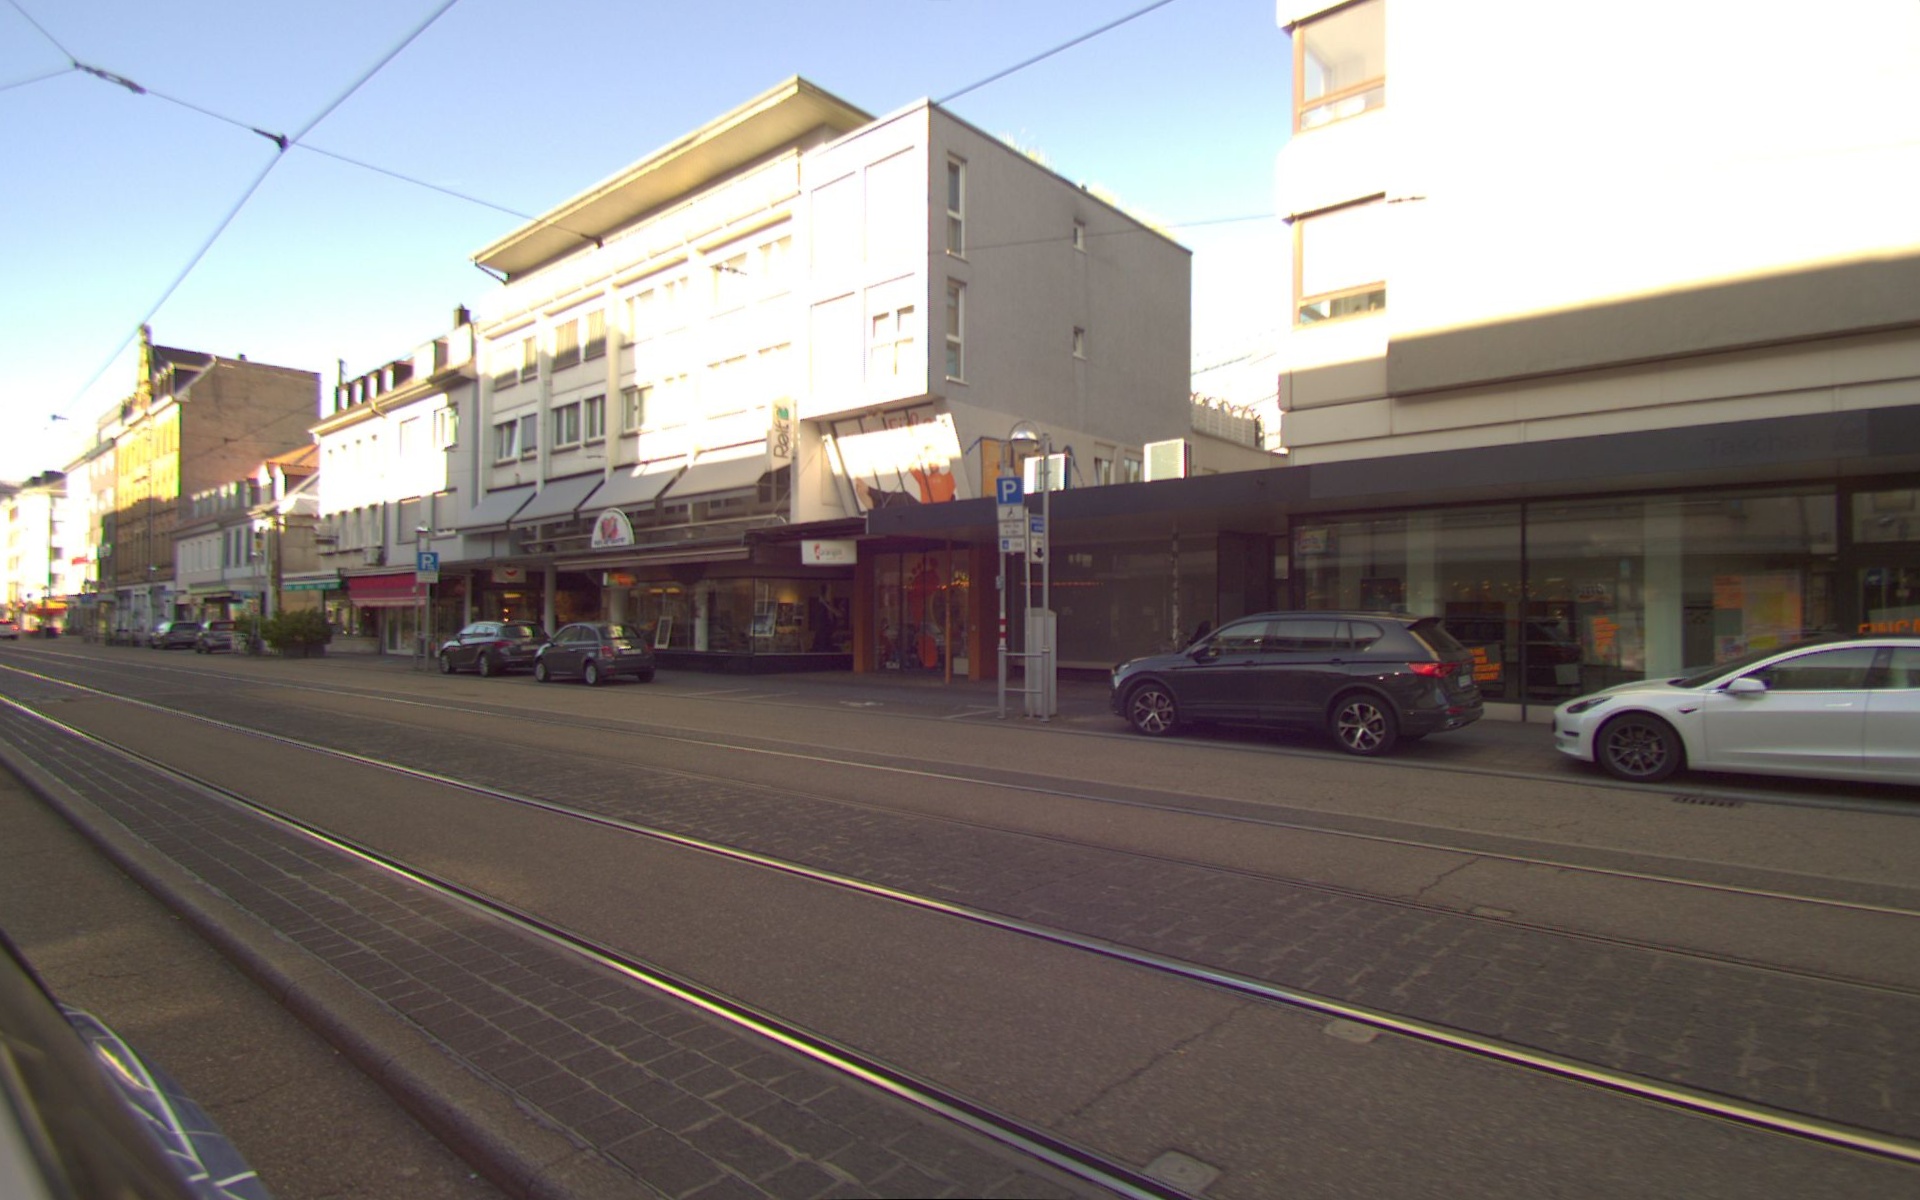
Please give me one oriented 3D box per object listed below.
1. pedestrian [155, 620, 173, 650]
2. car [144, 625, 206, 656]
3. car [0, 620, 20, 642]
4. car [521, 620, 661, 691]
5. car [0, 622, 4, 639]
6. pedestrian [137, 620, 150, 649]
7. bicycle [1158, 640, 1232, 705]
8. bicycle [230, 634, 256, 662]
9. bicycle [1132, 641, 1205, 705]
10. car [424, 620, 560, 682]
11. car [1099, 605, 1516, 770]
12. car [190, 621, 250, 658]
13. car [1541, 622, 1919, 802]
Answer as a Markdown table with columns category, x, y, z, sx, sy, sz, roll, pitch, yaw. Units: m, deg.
| category | x | y | z | sx | sy | sz | roll | pitch | yaw |
| --- | --- | --- | --- | --- | --- | --- | --- | --- | --- |
| pedestrian | -48.163 | 2.091 | 61.236 | 0.580 | 1.775 | 0.651 | -1 | 0 | 33 |
| car | -42.031 | 2.117 | 54.157 | 4.761 | 1.525 | 1.798 | -1 | -1 | 41 |
| car | -74.688 | 2.425 | 78.830 | 3.675 | 1.647 | 1.779 | -1 | -2 | 41 |
| car | -9.039 | 1.297 | 24.673 | 3.585 | 1.535 | 1.585 | -1 | 1 | 39 |
| car | -86.578 | 2.688 | 90.203 | 3.998 | 1.542 | 1.645 | -1 | -2 | 41 |
| pedestrian | -52.212 | 2.225 | 64.713 | 0.572 | 1.819 | 0.660 | -1 | 0 | -37 |
| bicycle | 4.270 | 1.287 | 18.316 | 0.423 | 1.006 | 1.915 | -1 | 1 | 42 |
| bicycle | -30.129 | 1.997 | 42.501 | 1.715 | 1.098 | 0.513 | -1 | 0 | 42 |
| bicycle | 3.840 | 1.312 | 18.558 | 0.380 | 1.006 | 1.915 | -1 | 1 | 42 |
| car | -13.362 | 1.392 | 28.749 | 4.851 | 1.535 | 1.719 | -1 | 1 | 42 |
| car | 4.279 | 0.944 | 12.955 | 4.654 | 1.691 | 1.957 | -1 | 1 | 42 |
| car | -34.878 | 1.830 | 47.701 | 2.890 | 1.616 | 1.679 | -1 | 0 | 41 |
| car | 8.256 | 0.959 | 9.445 | 4.653 | 1.431 | 1.869 | -1 | 1 | 40 |
